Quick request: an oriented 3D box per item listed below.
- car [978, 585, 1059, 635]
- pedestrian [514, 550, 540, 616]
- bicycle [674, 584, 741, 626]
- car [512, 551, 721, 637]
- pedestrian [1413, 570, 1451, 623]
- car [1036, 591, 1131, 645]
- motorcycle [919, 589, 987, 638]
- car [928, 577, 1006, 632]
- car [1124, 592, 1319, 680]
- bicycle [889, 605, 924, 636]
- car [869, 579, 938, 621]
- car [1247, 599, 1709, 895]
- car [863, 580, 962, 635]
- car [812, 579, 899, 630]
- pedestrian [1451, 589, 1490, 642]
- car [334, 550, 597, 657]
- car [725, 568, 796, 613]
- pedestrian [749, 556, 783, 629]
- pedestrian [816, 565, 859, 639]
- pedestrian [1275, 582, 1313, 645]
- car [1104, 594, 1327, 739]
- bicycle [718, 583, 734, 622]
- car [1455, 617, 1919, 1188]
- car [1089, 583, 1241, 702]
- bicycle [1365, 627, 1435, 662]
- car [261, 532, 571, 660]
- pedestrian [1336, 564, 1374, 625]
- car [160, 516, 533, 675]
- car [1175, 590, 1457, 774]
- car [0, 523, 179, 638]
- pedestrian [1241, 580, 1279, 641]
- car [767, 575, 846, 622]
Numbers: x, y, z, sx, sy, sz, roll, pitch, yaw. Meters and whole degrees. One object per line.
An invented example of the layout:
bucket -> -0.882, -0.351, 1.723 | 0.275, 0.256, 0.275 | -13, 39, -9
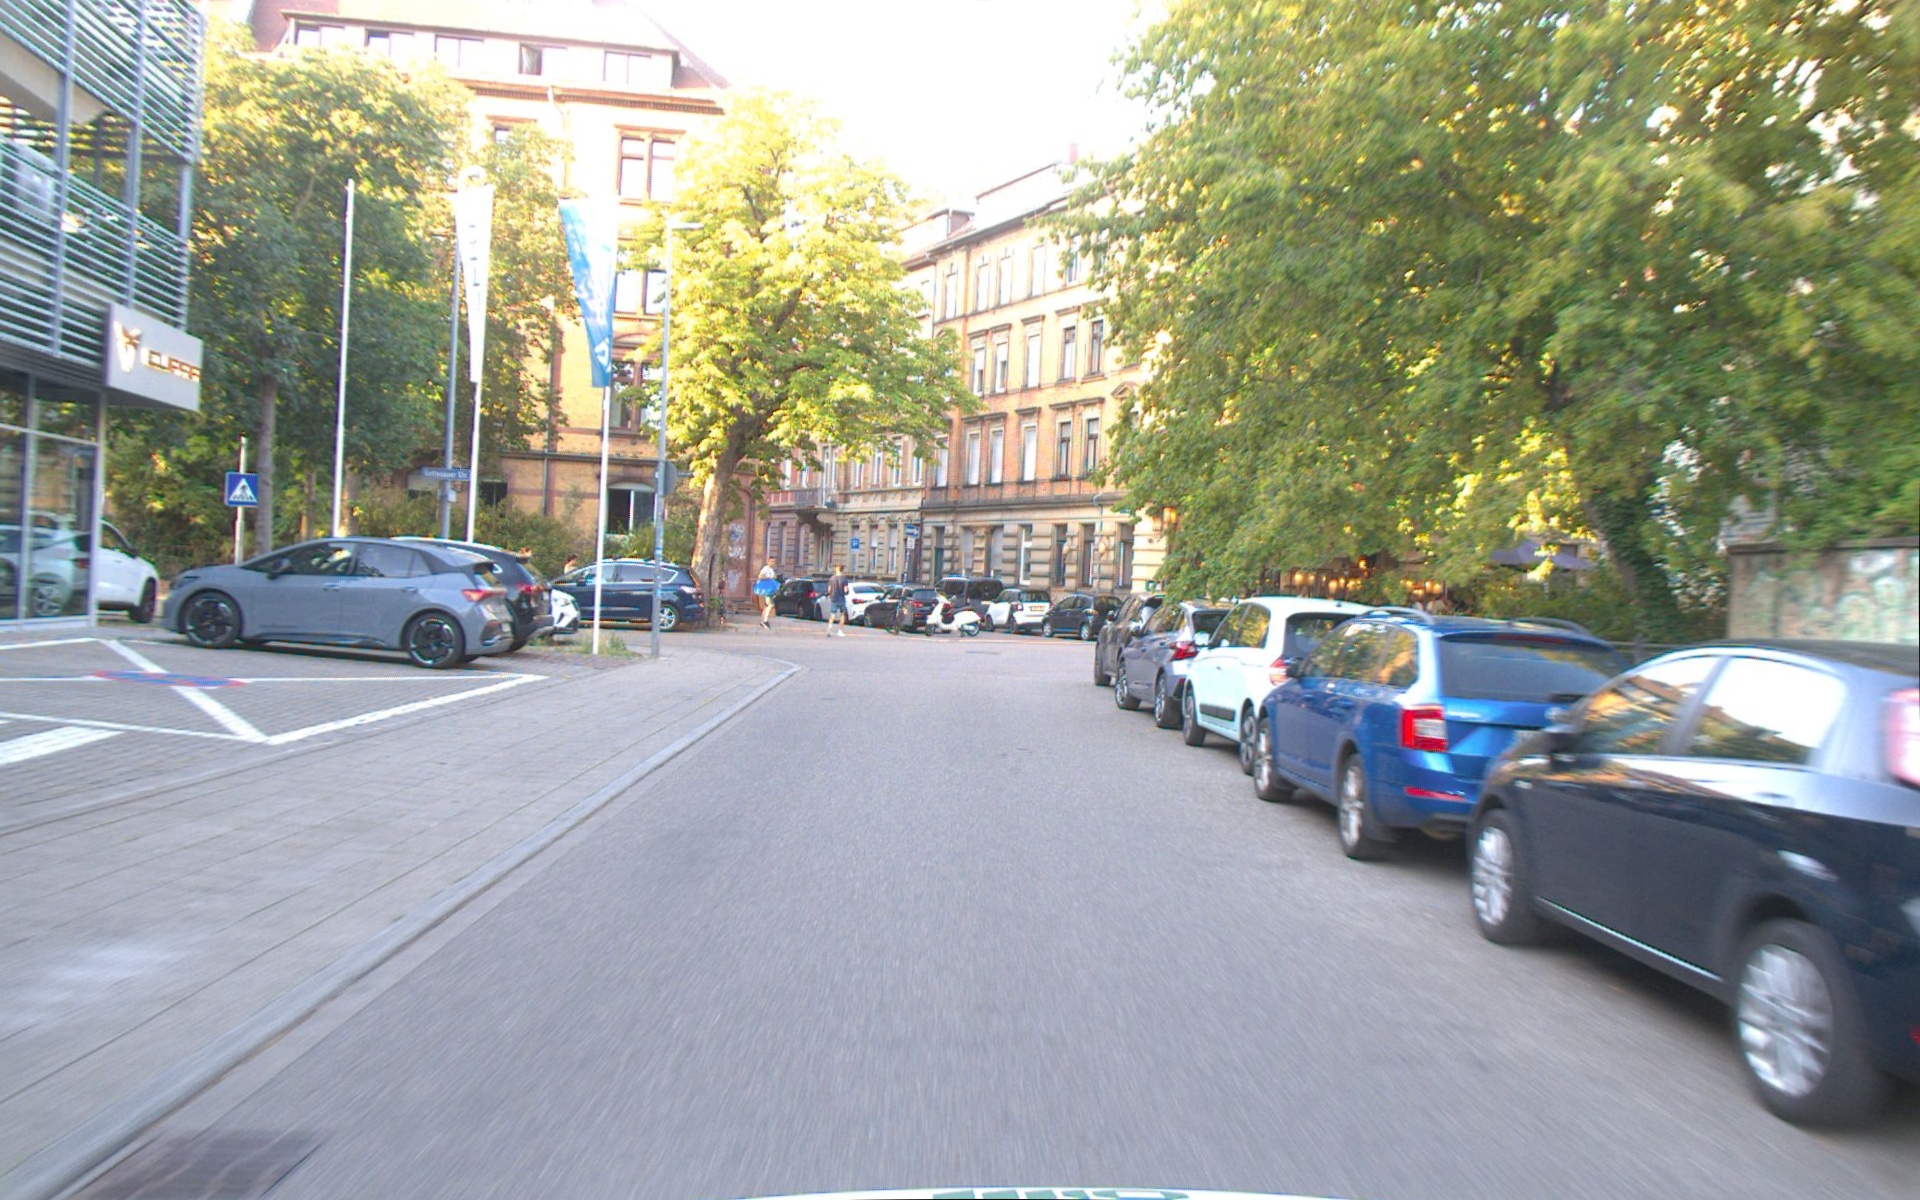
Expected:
car -> 2.002, 0.330, 57.008 | 1.653, 1.552, 2.746 | 3, 1, -25
pedestrian -> -11.165, -0.437, 42.665 | 0.532, 1.663, 0.447 | 2, 1, -6
bicycle -> -6.564, 0.133, 43.023 | 1.650, 1.046, 0.442 | 2, 1, -26
car -> -8.307, -0.168, 40.354 | 4.738, 1.762, 1.918 | 3, 1, -7
pedestrian -> 13.975, -0.111, 49.003 | 0.759, 1.507, 0.759 | 2, 1, -12
car -> 3.968, 0.556, 53.517 | 1.653, 1.552, 3.219 | 2, 1, -25
motorcycle -> -0.208, 0.397, 48.591 | 1.897, 1.364, 0.576 | 2, 1, -12
car -> 0.229, 0.154, 60.430 | 1.653, 1.813, 2.992 | 3, 1, -25
car -> 5.153, 0.702, 32.243 | 1.849, 1.492, 3.947 | 4, 1, 42
bicycle -> -1.506, 0.574, 46.451 | 0.416, 0.836, 1.462 | 3, 1, 21
car -> -2.275, -0.010, 65.685 | 1.653, 1.456, 2.992 | 3, 1, -25
car -> 3.159, 0.792, 10.994 | 1.661, 1.502, 4.116 | 3, 0, -1
car -> -1.538, 0.208, 51.816 | 1.633, 1.455, 3.960 | 3, 2, -25
car -> -3.610, 0.127, 56.408 | 1.632, 1.455, 4.139 | 3, 2, -23
pedestrian -> 15.168, 0.454, 49.162 | 0.759, 1.507, 0.759 | 2, 1, -12
car -> -8.543, 0.042, 28.870 | 3.967, 1.500, 1.919 | 5, 1, -5
car -> -7.966, -0.396, 65.917 | 1.634, 1.551, 3.866 | 3, 2, -25
pedestrian -> -5.150, -0.198, 43.874 | 0.799, 1.884, 0.802 | 2, 1, -6
pedestrian -> -3.151, 0.040, 42.421 | 0.725, 1.835, 1.115 | 2, 1, -21
pedestrian -> 10.013, 0.399, 49.626 | 0.760, 1.835, 0.840 | 2, 1, -16
car -> 3.009, 0.735, 20.353 | 1.662, 1.502, 4.208 | 3, 0, -6
bicycle -> -6.720, 0.057, 47.501 | 0.312, 1.046, 1.676 | 2, 1, -5
car -> 3.335, 0.884, 6.446 | 1.564, 1.502, 3.773 | 3, 0, -1
car -> 3.053, 0.589, 25.388 | 1.661, 1.598, 3.970 | 3, 0, -2
bicycle -> 12.439, 1.252, 46.743 | 1.935, 0.900, 0.399 | 2, 1, -15
car -> -7.985, -0.071, 24.554 | 3.986, 1.646, 1.764 | 3, 1, -3
pedestrian -> 12.132, -0.182, 50.818 | 0.760, 1.835, 0.840 | 1, 1, -16
car -> -7.846, -0.075, 21.478 | 4.048, 1.645, 1.912 | 5, 1, -3
car -> 3.291, 0.697, 15.943 | 1.662, 1.502, 3.556 | 3, 0, -4
car -> -13.721, -0.318, 25.495 | 1.669, 1.577, 4.218 | 3, 0, -6
pedestrian -> 9.317, 0.327, 51.350 | 0.828, 1.835, 0.771 | 2, 1, -22
car -> -5.655, -0.078, 60.649 | 1.634, 1.455, 3.866 | 3, 2, -25
